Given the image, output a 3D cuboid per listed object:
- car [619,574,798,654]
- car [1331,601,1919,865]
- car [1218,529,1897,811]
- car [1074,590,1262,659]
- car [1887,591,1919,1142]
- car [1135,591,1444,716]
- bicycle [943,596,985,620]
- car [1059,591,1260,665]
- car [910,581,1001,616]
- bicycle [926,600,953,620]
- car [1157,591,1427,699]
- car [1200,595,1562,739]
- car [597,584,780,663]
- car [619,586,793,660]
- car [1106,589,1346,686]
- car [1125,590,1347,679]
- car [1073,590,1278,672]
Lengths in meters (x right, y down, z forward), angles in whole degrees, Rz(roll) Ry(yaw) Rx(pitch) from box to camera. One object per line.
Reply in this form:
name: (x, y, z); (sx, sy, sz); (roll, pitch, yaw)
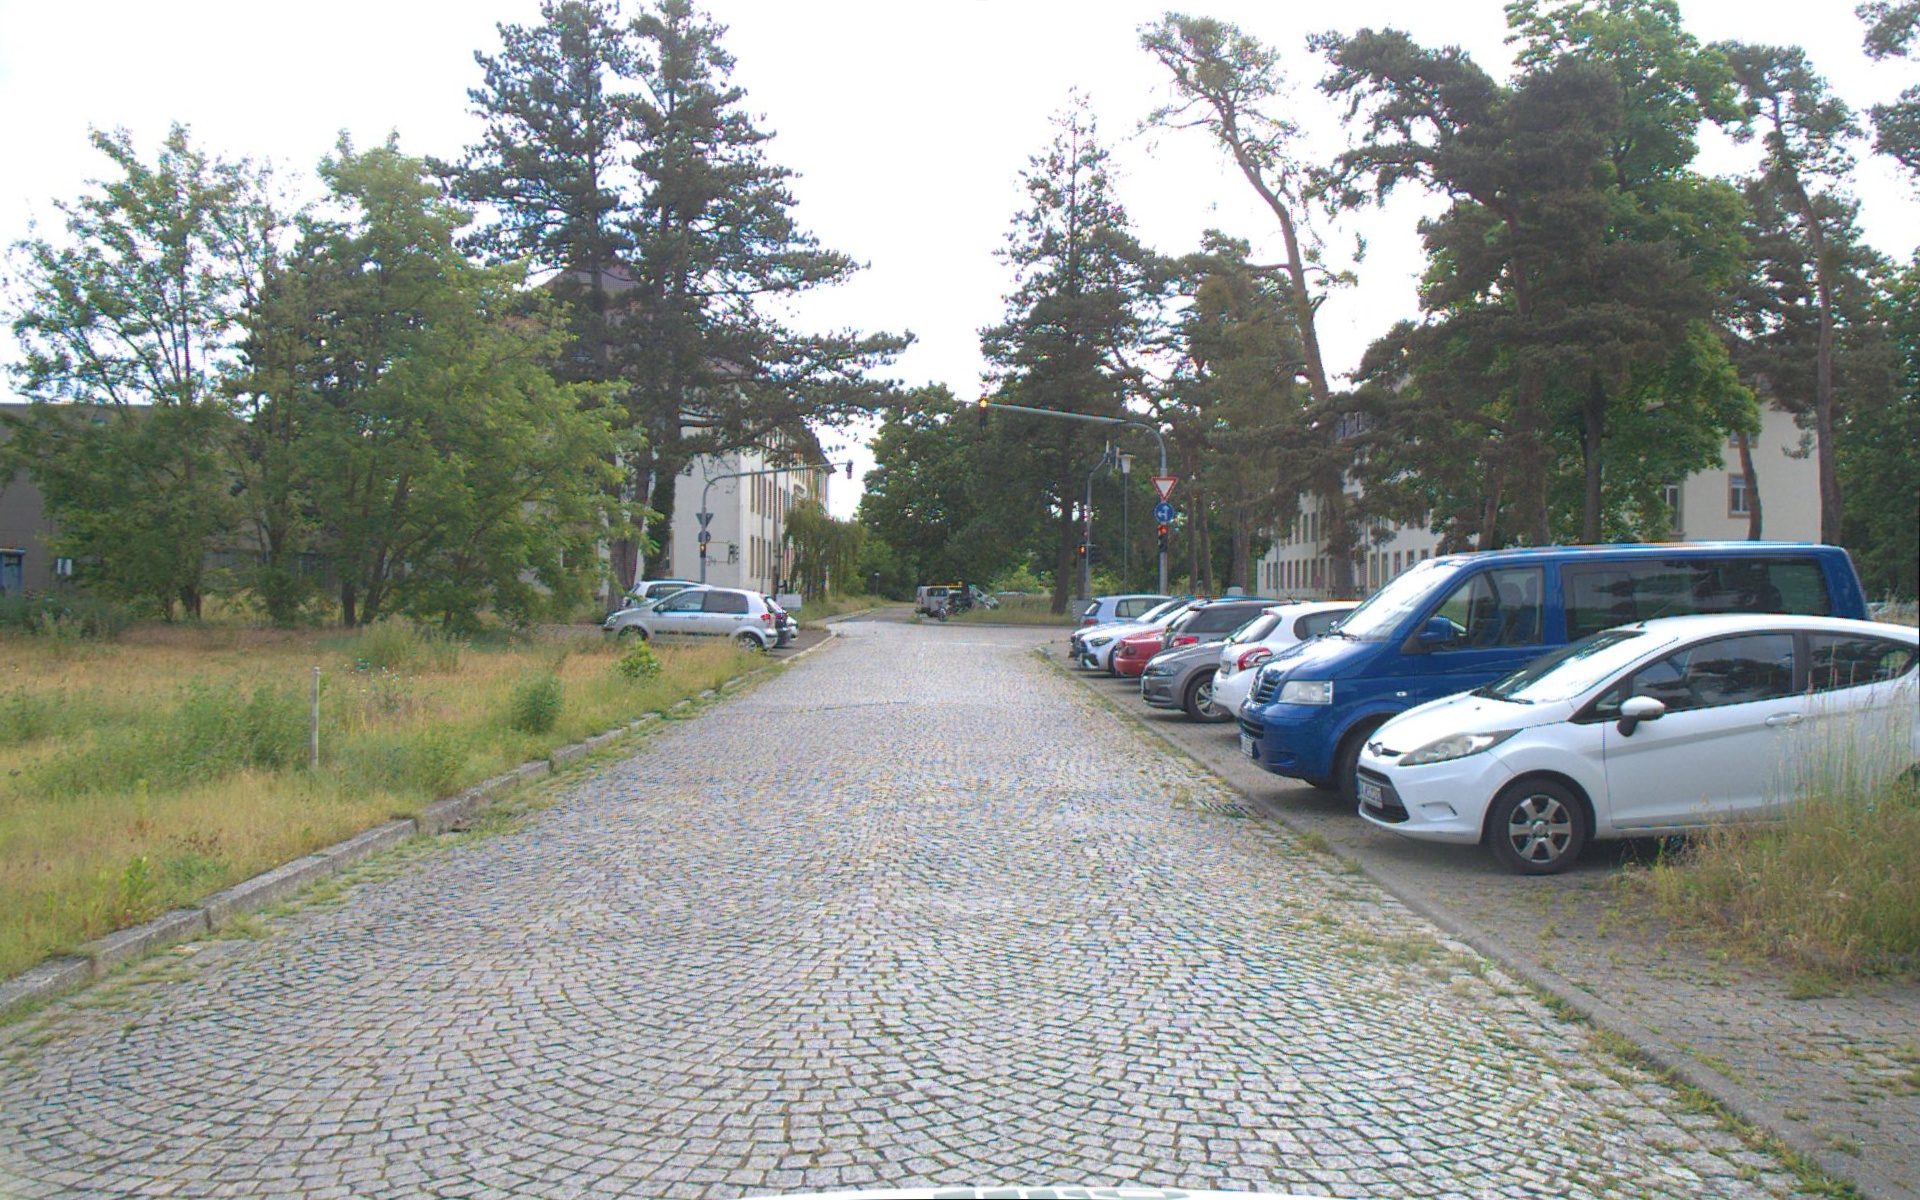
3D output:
car: (-6.183, 0.332, 41.005); (4.176, 1.873, 1.743); (-1, 0, -2)
car: (4.355, 0.769, 10.485); (3.599, 1.475, 1.613); (-1, 0, -4)
car: (4.555, 0.501, 13.081); (4.659, 1.989, 1.930); (-1, 0, -3)
car: (4.606, 0.531, 36.878); (3.891, 1.446, 1.618); (-1, 0, -6)
car: (4.753, 0.738, 4.116); (3.948, 1.579, 1.750); (-1, 0, -4)
car: (4.146, 0.654, 21.131); (3.598, 1.475, 1.523); (-1, 0, -3)
bicycle: (0.209, 0.410, 85.723); (2.095, 1.236, 0.621); (1, 0, -6)
car: (4.088, 0.558, 34.218); (3.891, 1.446, 1.618); (-1, 0, -6)
car: (-0.296, -0.106, 103.623); (5.347, 2.049, 2.263); (1, 0, -10)
bicycle: (-1.007, 0.500, 81.630); (0.613, 0.961, 1.647); (1, 0, -28)
car: (4.785, 0.628, 24.132); (3.598, 1.475, 1.523); (-1, 0, -3)
car: (4.605, 0.705, 18.361); (3.598, 1.475, 1.523); (-1, 0, -3)
car: (-5.796, 0.487, 35.608); (3.746, 1.600, 1.563); (-1, 0, -4)
car: (-5.794, 0.515, 38.025); (3.744, 1.600, 1.564); (-1, 0, -2)
car: (4.272, 0.588, 26.828); (3.598, 1.475, 1.523); (-1, 0, -3)
car: (4.813, 0.586, 29.123); (3.598, 1.475, 1.523); (-1, 0, -3)
car: (4.050, 0.567, 31.361); (3.600, 1.446, 1.522); (-1, 0, -6)
